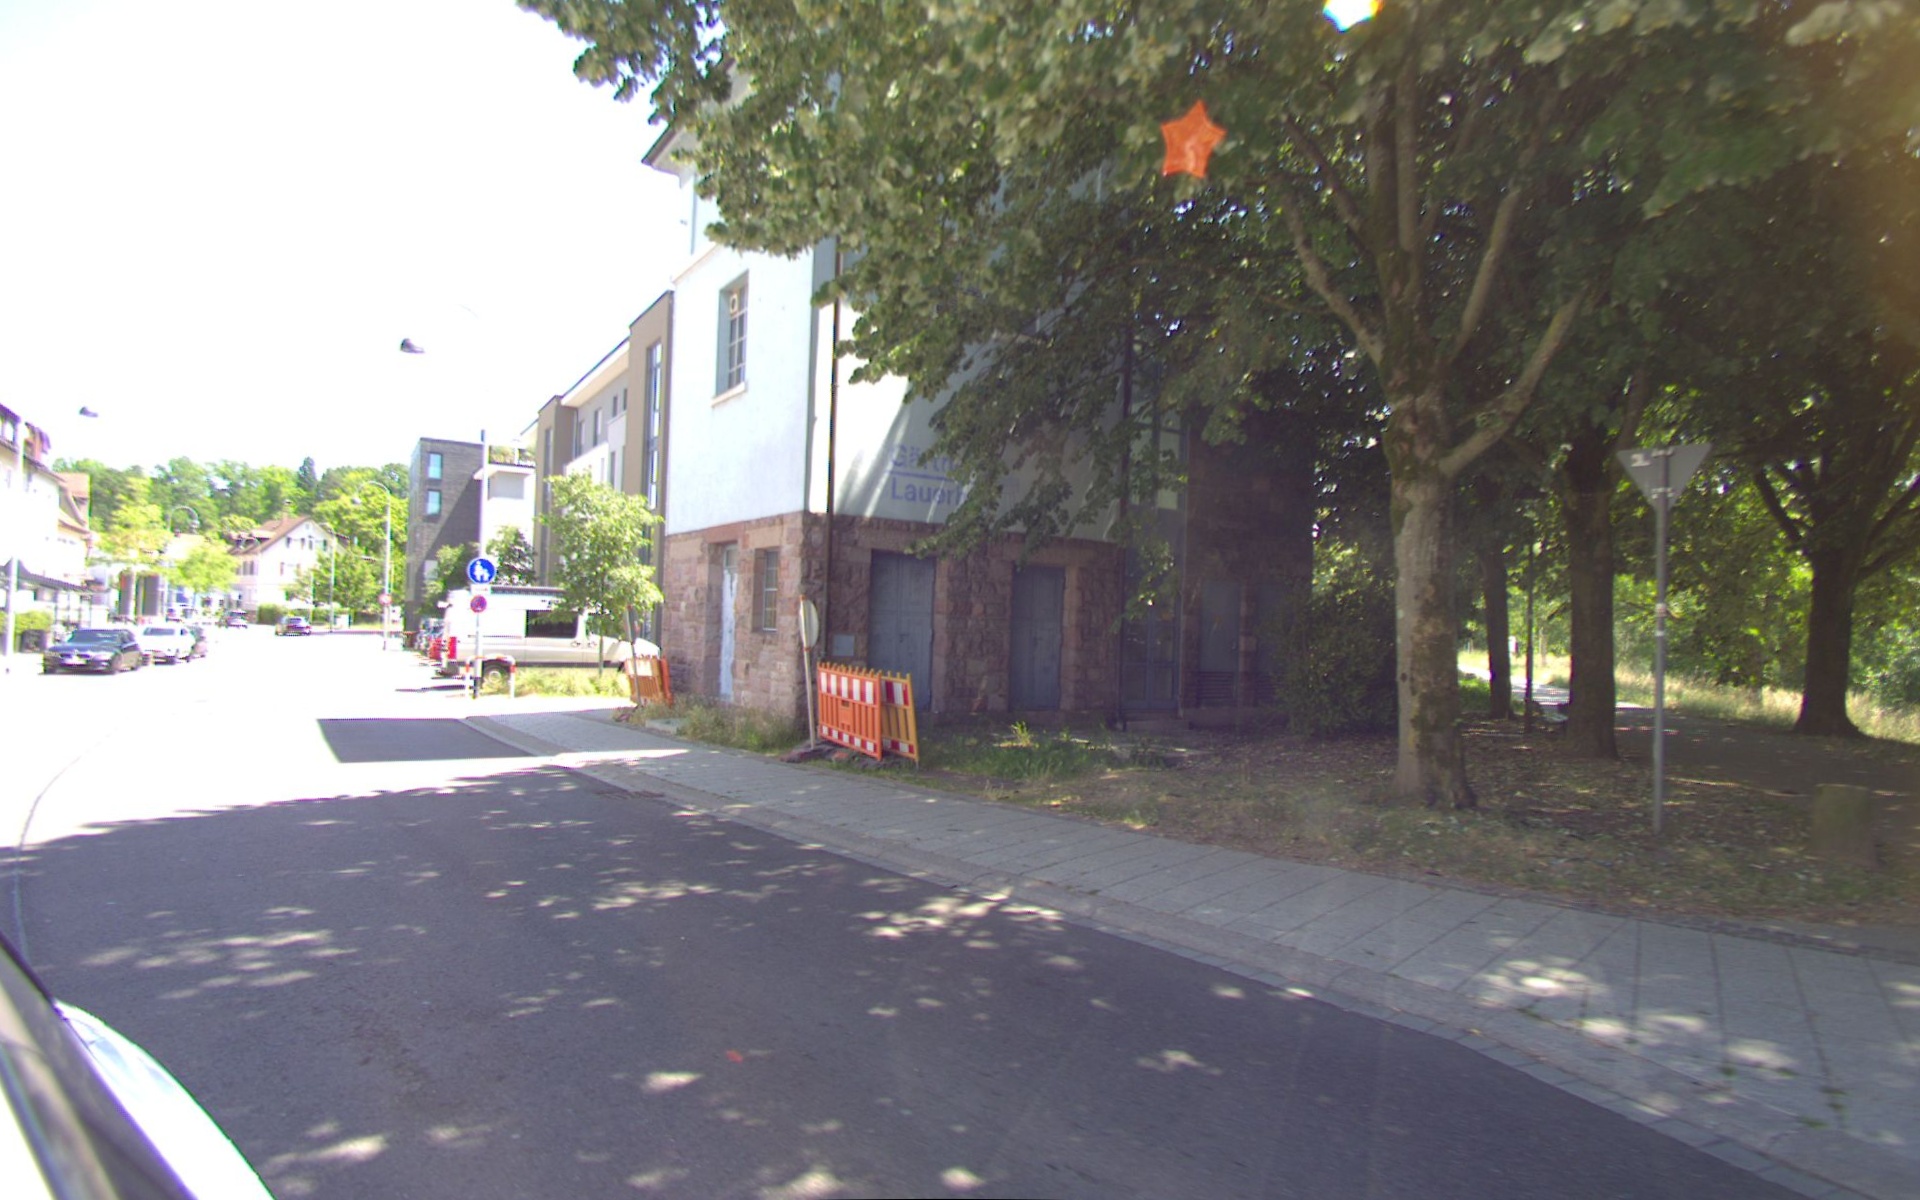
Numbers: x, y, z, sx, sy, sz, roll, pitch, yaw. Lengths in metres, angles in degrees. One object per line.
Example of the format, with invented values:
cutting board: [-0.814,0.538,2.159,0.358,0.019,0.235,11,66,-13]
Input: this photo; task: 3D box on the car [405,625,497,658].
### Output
car: [-25.197,2.034,50.113,3.932,1.527,2.006,1,-1,-31]

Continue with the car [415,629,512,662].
car: [-23.497,2.107,47.926,3.932,1.432,1.915,1,-1,-32]

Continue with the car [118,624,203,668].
car: [-31.157,1.781,39.543,1.713,1.497,4.067,5,-3,-27]

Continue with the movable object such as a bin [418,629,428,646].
movable object such as a bin: [-31.927,2.209,60.161,0.397,1.005,0.557,2,-2,-34]

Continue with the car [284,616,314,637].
car: [-51.133,2.062,78.220,1.868,1.565,4.811,1,-2,-34]

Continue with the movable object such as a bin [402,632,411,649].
movable object such as a bin: [-32.675,2.396,59.726,0.397,1.005,0.557,2,-2,-34]

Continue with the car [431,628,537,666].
car: [-20.462,2.002,43.516,3.976,1.508,2.006,1,-1,-30]

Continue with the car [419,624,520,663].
car: [-22.176,1.916,45.772,3.976,1.663,2.006,1,-1,-30]

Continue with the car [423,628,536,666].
car: [-19.502,1.872,41.068,3.976,1.441,2.006,1,-1,-30]

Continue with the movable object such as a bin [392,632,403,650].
movable object such as a bin: [-33.027,2.404,59.422,0.476,1.005,0.589,2,-2,-34]

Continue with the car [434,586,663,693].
car: [-11.580,1.058,28.626,5.688,2.753,2.298,1,-1,-31]

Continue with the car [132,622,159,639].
car: [-72.398,2.704,90.009,1.657,1.526,3.394,1,-2,-36]

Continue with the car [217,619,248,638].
car: [-67.562,2.638,93.949,1.789,1.714,4.079,2,-2,-44]

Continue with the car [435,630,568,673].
car: [-16.808,1.842,37.170,4.144,1.448,1.890,1,-1,-36]

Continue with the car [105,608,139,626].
car: [-81.958,1.653,98.958,4.319,1.484,1.713,1,-4,39]

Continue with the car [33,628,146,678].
car: [-27.714,1.660,32.367,1.700,1.416,4.623,4,-3,-28]
